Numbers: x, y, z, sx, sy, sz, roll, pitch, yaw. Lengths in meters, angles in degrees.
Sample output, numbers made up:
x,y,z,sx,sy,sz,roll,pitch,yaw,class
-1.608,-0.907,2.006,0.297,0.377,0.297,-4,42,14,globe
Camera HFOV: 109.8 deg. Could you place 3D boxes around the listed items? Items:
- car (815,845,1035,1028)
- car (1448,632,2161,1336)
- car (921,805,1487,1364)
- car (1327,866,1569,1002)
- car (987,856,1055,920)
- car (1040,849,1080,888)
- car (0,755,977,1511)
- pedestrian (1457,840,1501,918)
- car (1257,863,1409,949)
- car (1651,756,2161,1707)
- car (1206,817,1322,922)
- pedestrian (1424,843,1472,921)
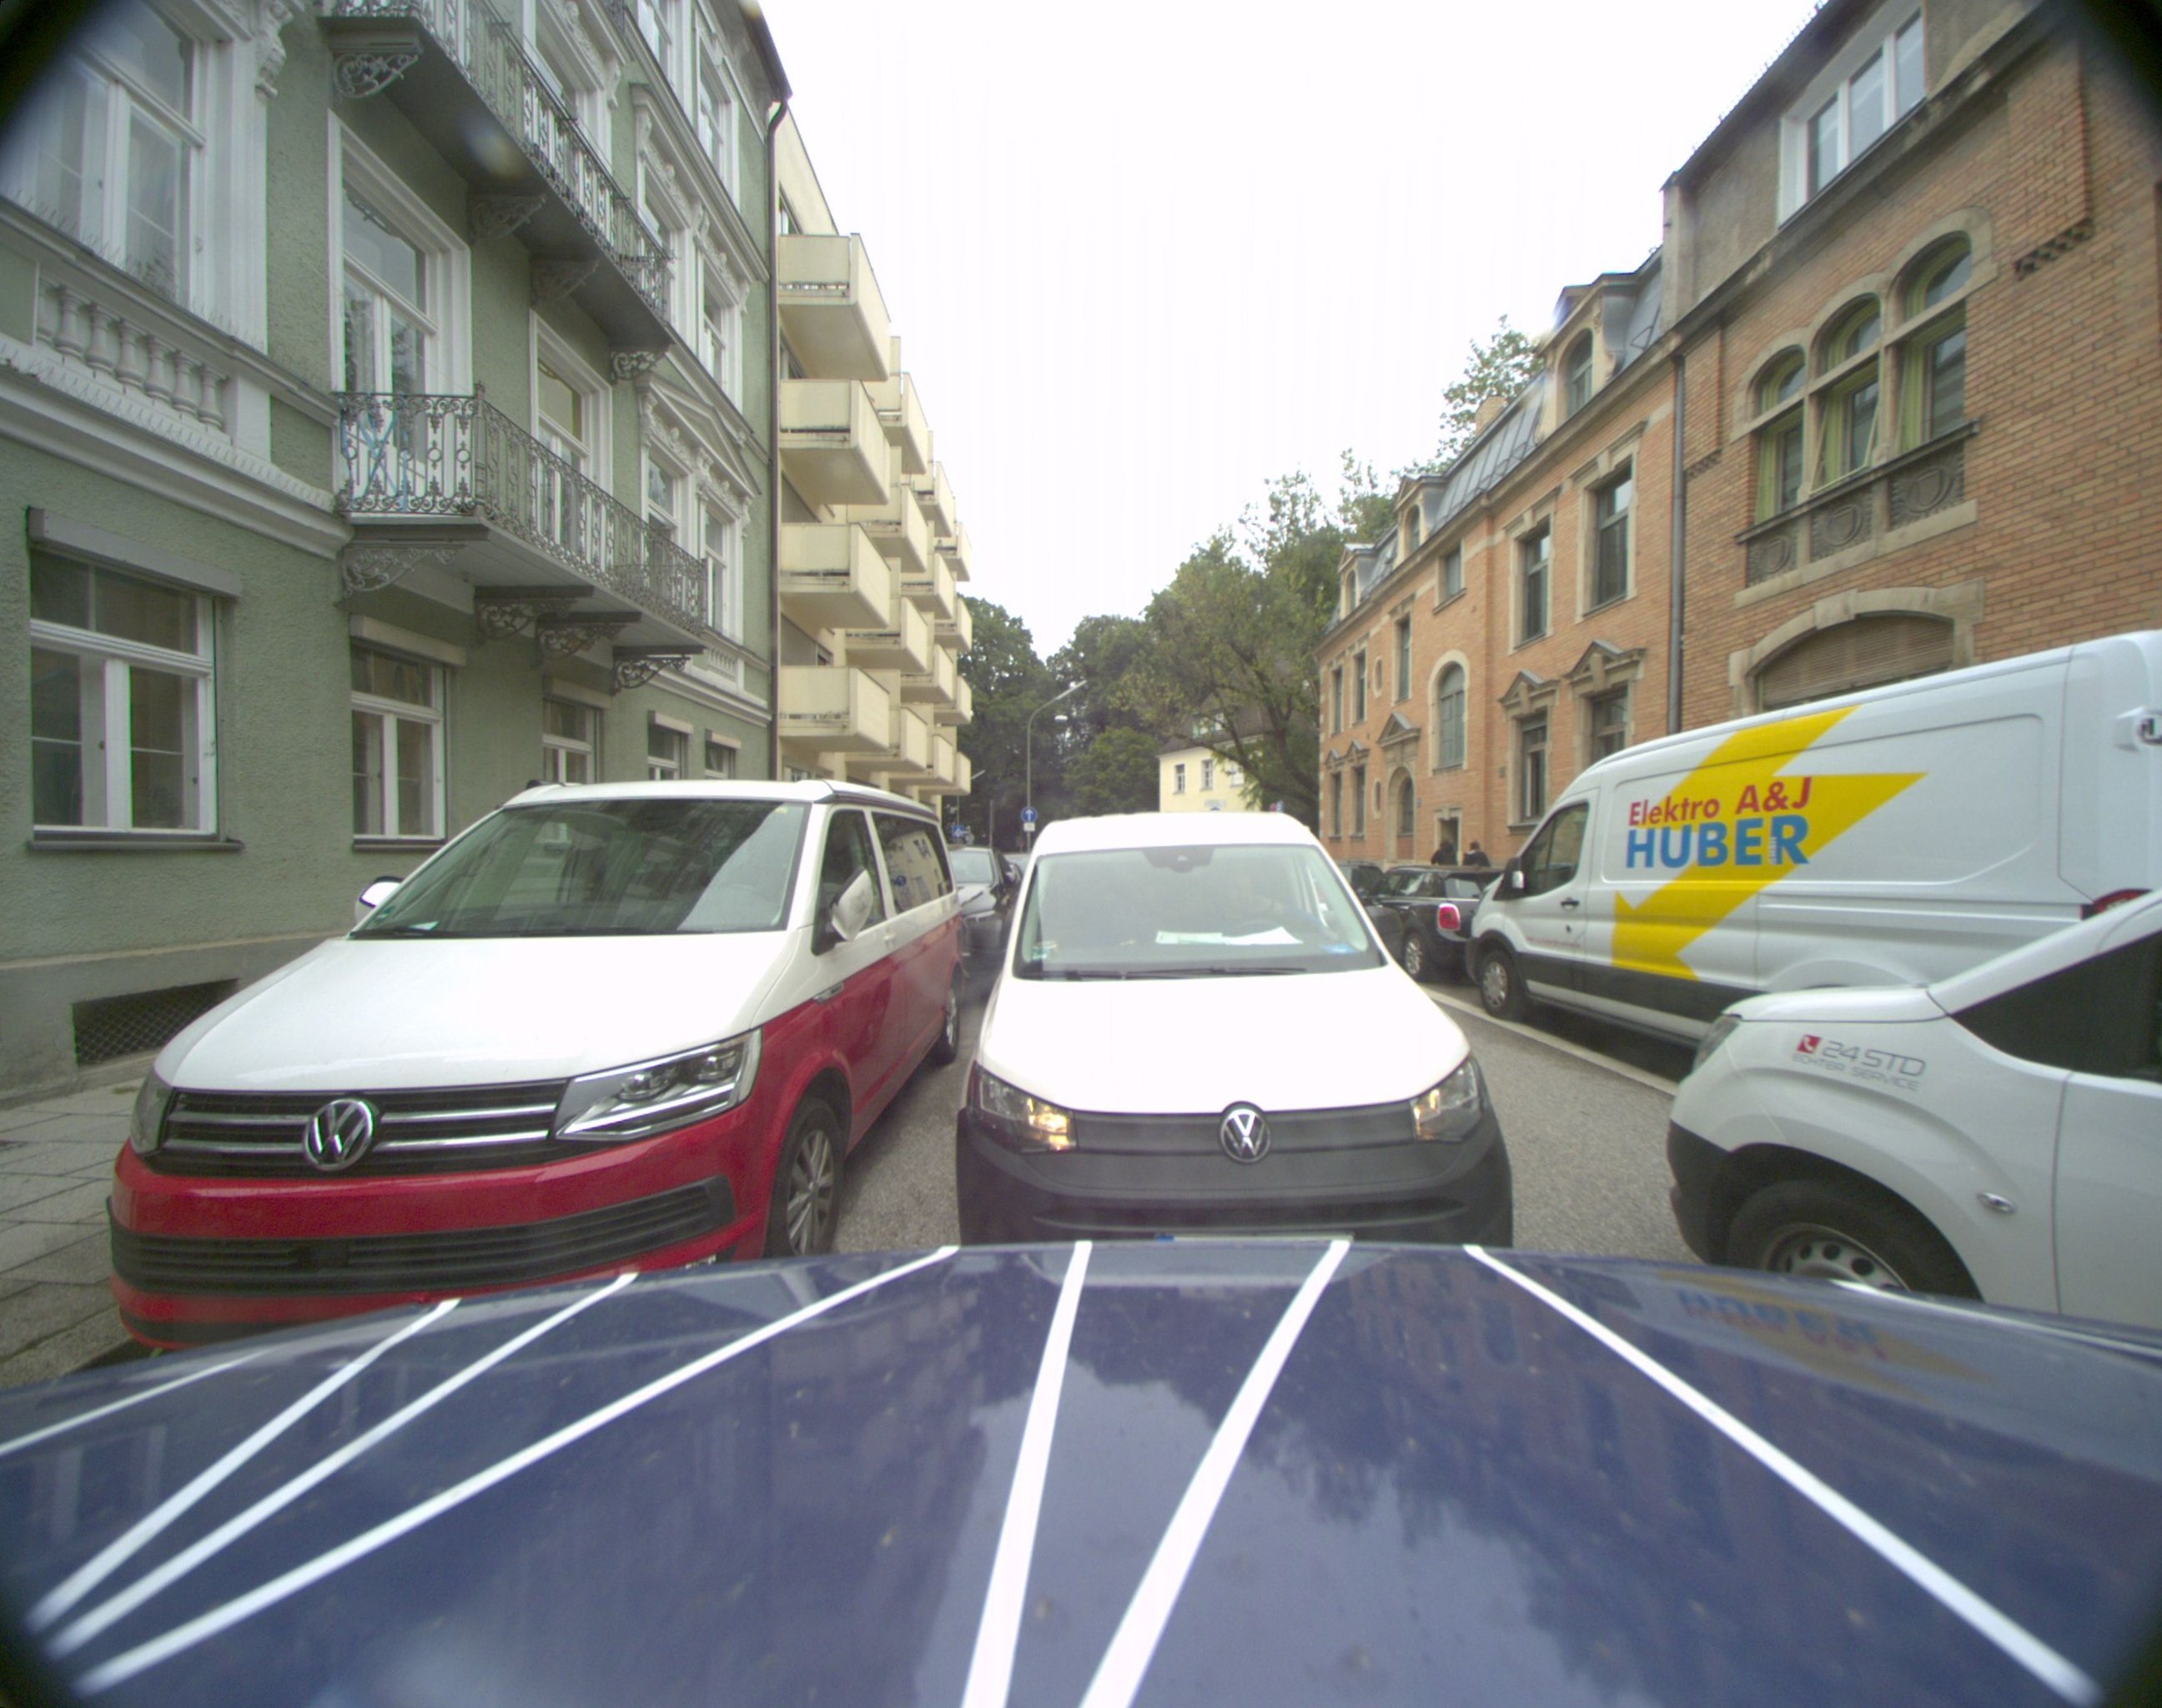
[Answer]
x,y,z,sx,sy,sz,roll,pitch,yaw,class
-1.674,0.824,9.779,1.832,1.747,4.553,-2,0,0,car
4.784,0.452,5.158,1.986,2.463,5.222,1,1,0,car
0.427,0.736,4.468,1.776,1.761,4.000,2,1,1,car
4.735,0.938,10.384,1.527,1.434,3.540,2,0,0,car
-1.583,0.874,21.230,1.551,1.562,3.977,-2,0,0,car
-0.967,0.665,36.279,1.766,1.740,3.999,1,0,-1,car
-1.901,0.723,4.245,1.858,1.885,4.592,-2,0,1,car
8.497,0.525,16.249,0.634,1.623,0.467,2,1,1,pedestrian
4.934,0.947,15.475,1.694,1.434,3.984,2,0,0,car
2.628,0.766,0.109,1.775,1.793,4.573,2,1,3,car
4.947,0.408,21.236,2.118,2.525,4.421,3,0,1,car
7.784,0.580,16.148,0.634,1.623,0.675,2,1,1,pedestrian
